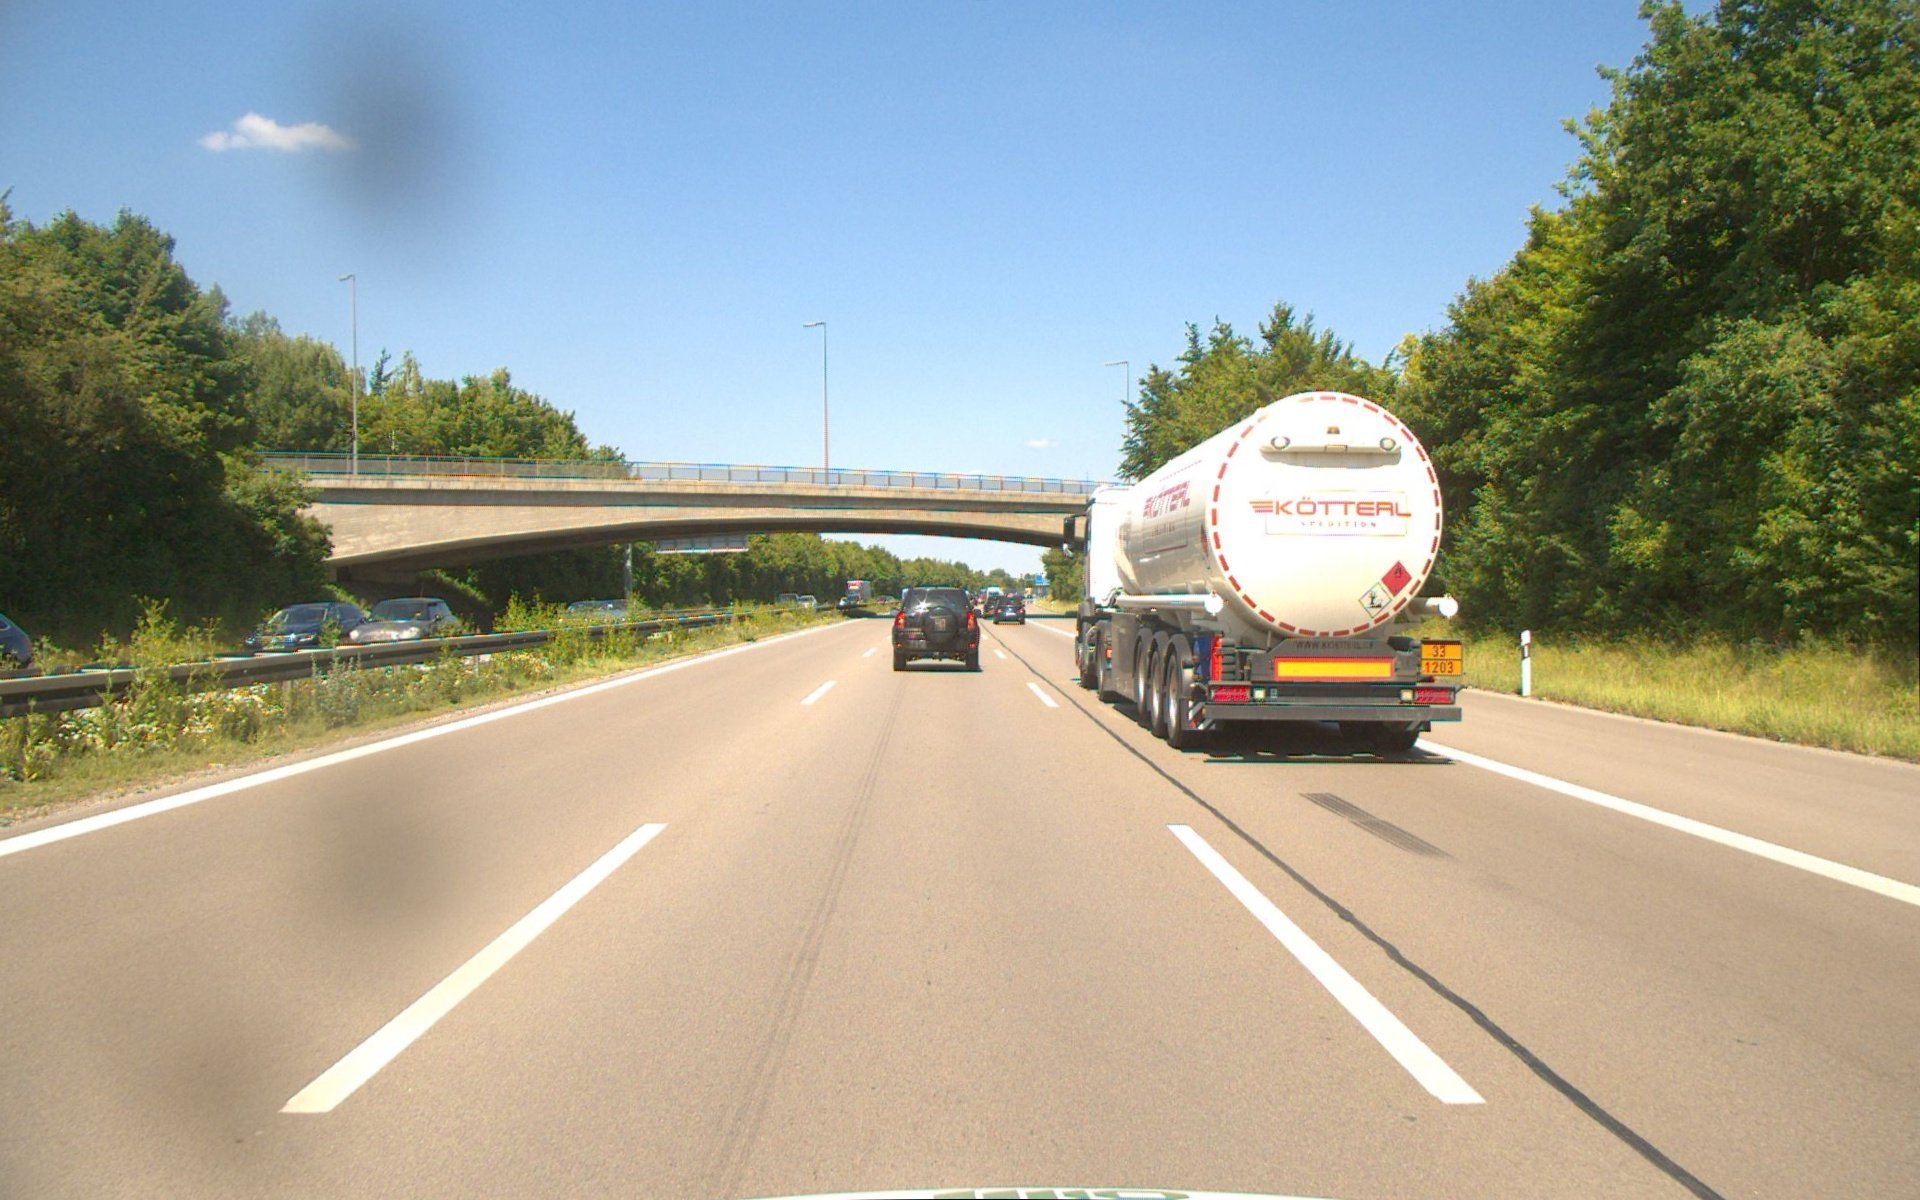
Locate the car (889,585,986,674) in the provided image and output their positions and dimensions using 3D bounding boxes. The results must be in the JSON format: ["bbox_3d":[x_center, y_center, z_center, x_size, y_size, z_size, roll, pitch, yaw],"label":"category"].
[{"bbox_3d":[-0.508,0.574,34.006,1.868,1.694,3.998,0,0,-2],"label":"car"}]

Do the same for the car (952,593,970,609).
[{"bbox_3d":[0.068,0.158,188.979,1.953,1.780,4.204,-1,0,-1],"label":"car"}]

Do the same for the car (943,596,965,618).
[{"bbox_3d":[-0.590,0.641,154.016,1.953,2.049,4.767,-1,0,-1],"label":"car"}]

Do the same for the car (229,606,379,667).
[{"bbox_3d":[-16.241,0.889,41.218,1.953,1.421,4.658,0,-1,-1],"label":"car"}]

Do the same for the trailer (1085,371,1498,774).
[{"bbox_3d":[3.279,-0.240,19.815,2.594,3.449,11.150,0,0,-1],"label":"trailer"}]

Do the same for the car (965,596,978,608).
[{"bbox_3d":[1.757,0.343,254.492,1.775,1.777,3.999,-1,0,-1],"label":"car"}]

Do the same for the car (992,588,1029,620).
[{"bbox_3d":[2.776,0.260,92.154,1.952,1.713,4.000,-1,-1,0],"label":"car"}]

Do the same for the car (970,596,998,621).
[{"bbox_3d":[1.583,0.594,111.201,1.805,1.640,3.999,-1,-1,0],"label":"car"}]

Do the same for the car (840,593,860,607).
[{"bbox_3d":[-11.863,0.002,178.897,1.822,1.554,4.751,-1,0,0],"label":"car"}]

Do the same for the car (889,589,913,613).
[{"bbox_3d":[-5.218,0.071,145.807,1.953,2.049,4.949,-1,0,-1],"label":"car"}]

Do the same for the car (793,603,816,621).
[{"bbox_3d":[-15.134,1.159,160.989,1.861,1.669,3.999,0,-1,-1],"label":"car"}]

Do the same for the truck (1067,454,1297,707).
[{"bbox_3d":[3.244,-0.264,25.858,2.584,3.434,6.486,1,0,-1],"label":"truck"}]

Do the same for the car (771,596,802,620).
[{"bbox_3d":[-12.710,0.565,121.317,1.760,1.695,4.129,-1,0,1],"label":"car"}]

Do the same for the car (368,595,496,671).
[{"bbox_3d":[-12.479,0.735,39.321,1.834,1.722,3.999,0,0,-1],"label":"car"}]

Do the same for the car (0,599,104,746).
[{"bbox_3d":[-12.300,0.851,19.922,1.953,1.722,3.999,0,0,-1],"label":"car"}]
